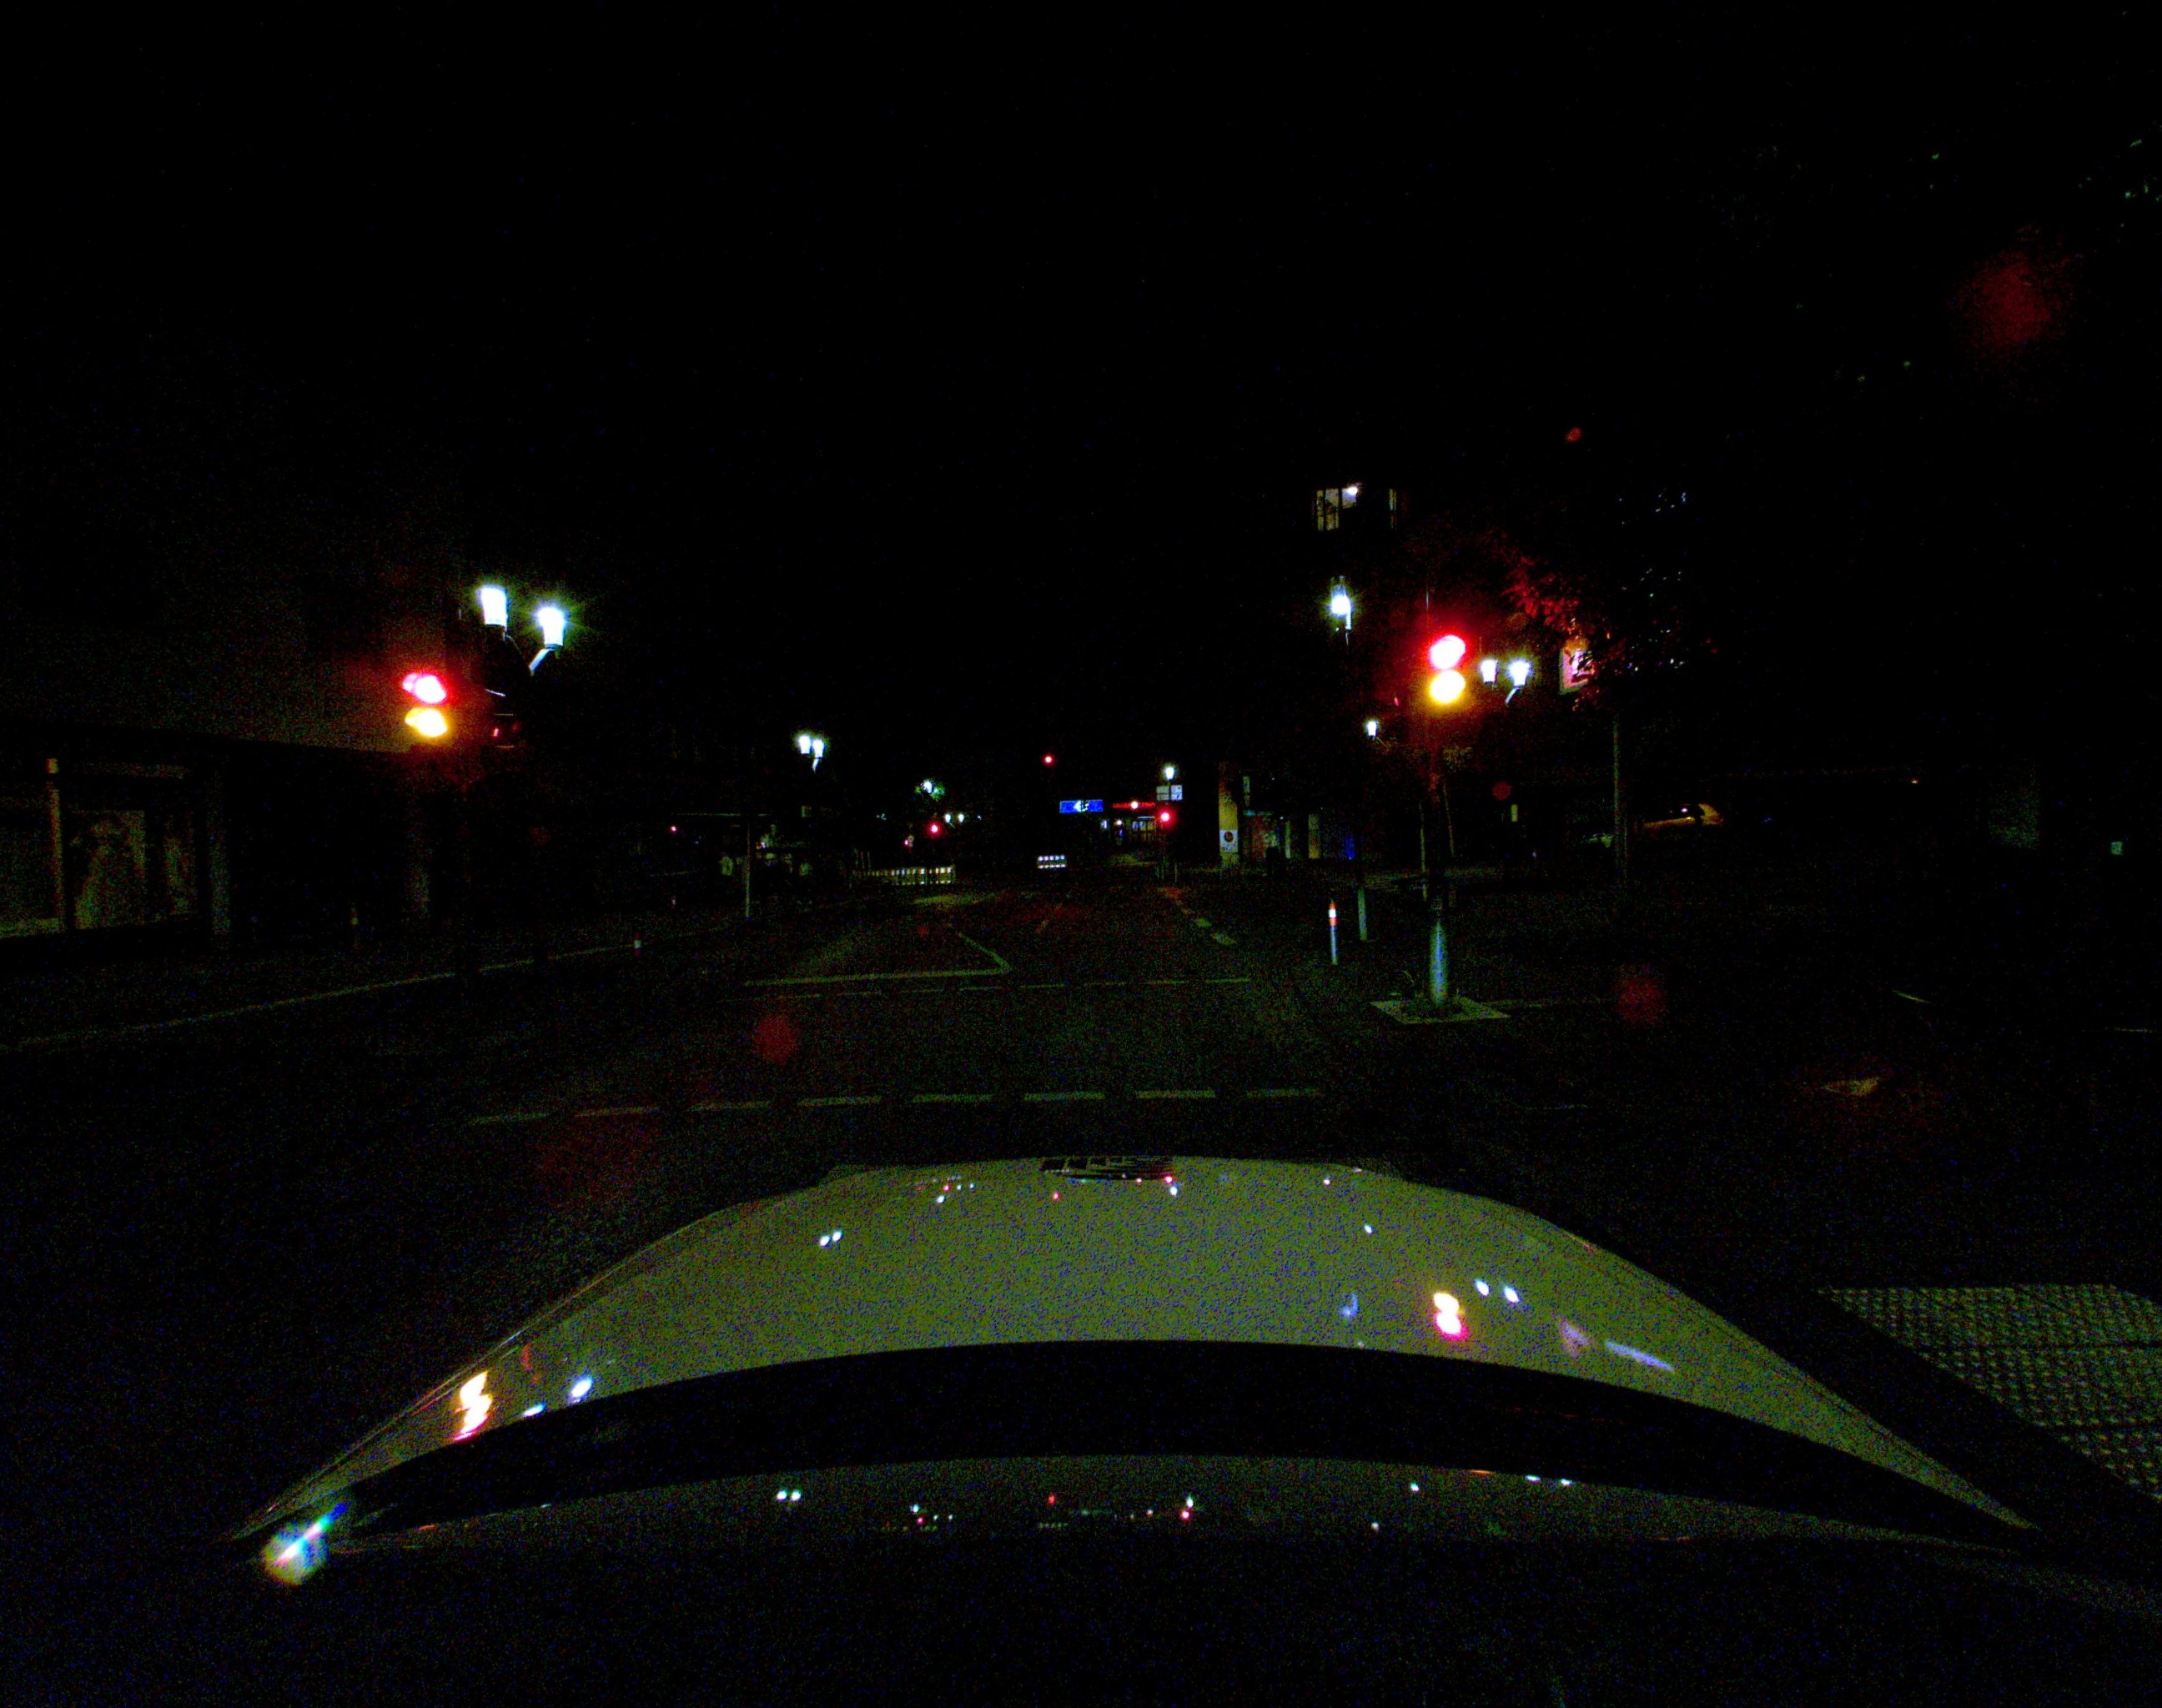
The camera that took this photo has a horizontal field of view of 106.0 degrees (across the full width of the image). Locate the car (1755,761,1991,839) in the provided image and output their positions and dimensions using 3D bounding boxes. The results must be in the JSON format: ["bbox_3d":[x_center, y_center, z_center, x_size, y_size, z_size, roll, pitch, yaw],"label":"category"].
[{"bbox_3d":[23.406,-1.511,24.418,4.783,1.910,2.172,-2,-2,37],"label":"car"}]

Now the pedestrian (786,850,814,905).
[{"bbox_3d":[-9.377,0.774,27.182,0.712,1.795,0.571,-1,-2,8],"label":"pedestrian"}]

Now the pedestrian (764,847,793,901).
[{"bbox_3d":[-10.114,0.680,27.275,0.712,1.795,0.571,-1,-2,8],"label":"pedestrian"}]

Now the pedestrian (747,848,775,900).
[{"bbox_3d":[-11.168,0.686,28.458,0.712,1.795,0.571,-1,-2,8],"label":"pedestrian"}]

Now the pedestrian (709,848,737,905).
[{"bbox_3d":[-11.455,0.721,26.056,0.716,1.795,0.567,0,-2,-13],"label":"pedestrian"}]

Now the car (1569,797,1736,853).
[{"bbox_3d":[18.522,-0.934,26.573,4.019,1.452,1.830,-4,0,8],"label":"car"}]

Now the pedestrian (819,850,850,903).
[{"bbox_3d":[-8.490,0.775,28.026,0.709,1.795,0.741,-1,-2,26],"label":"pedestrian"}]
